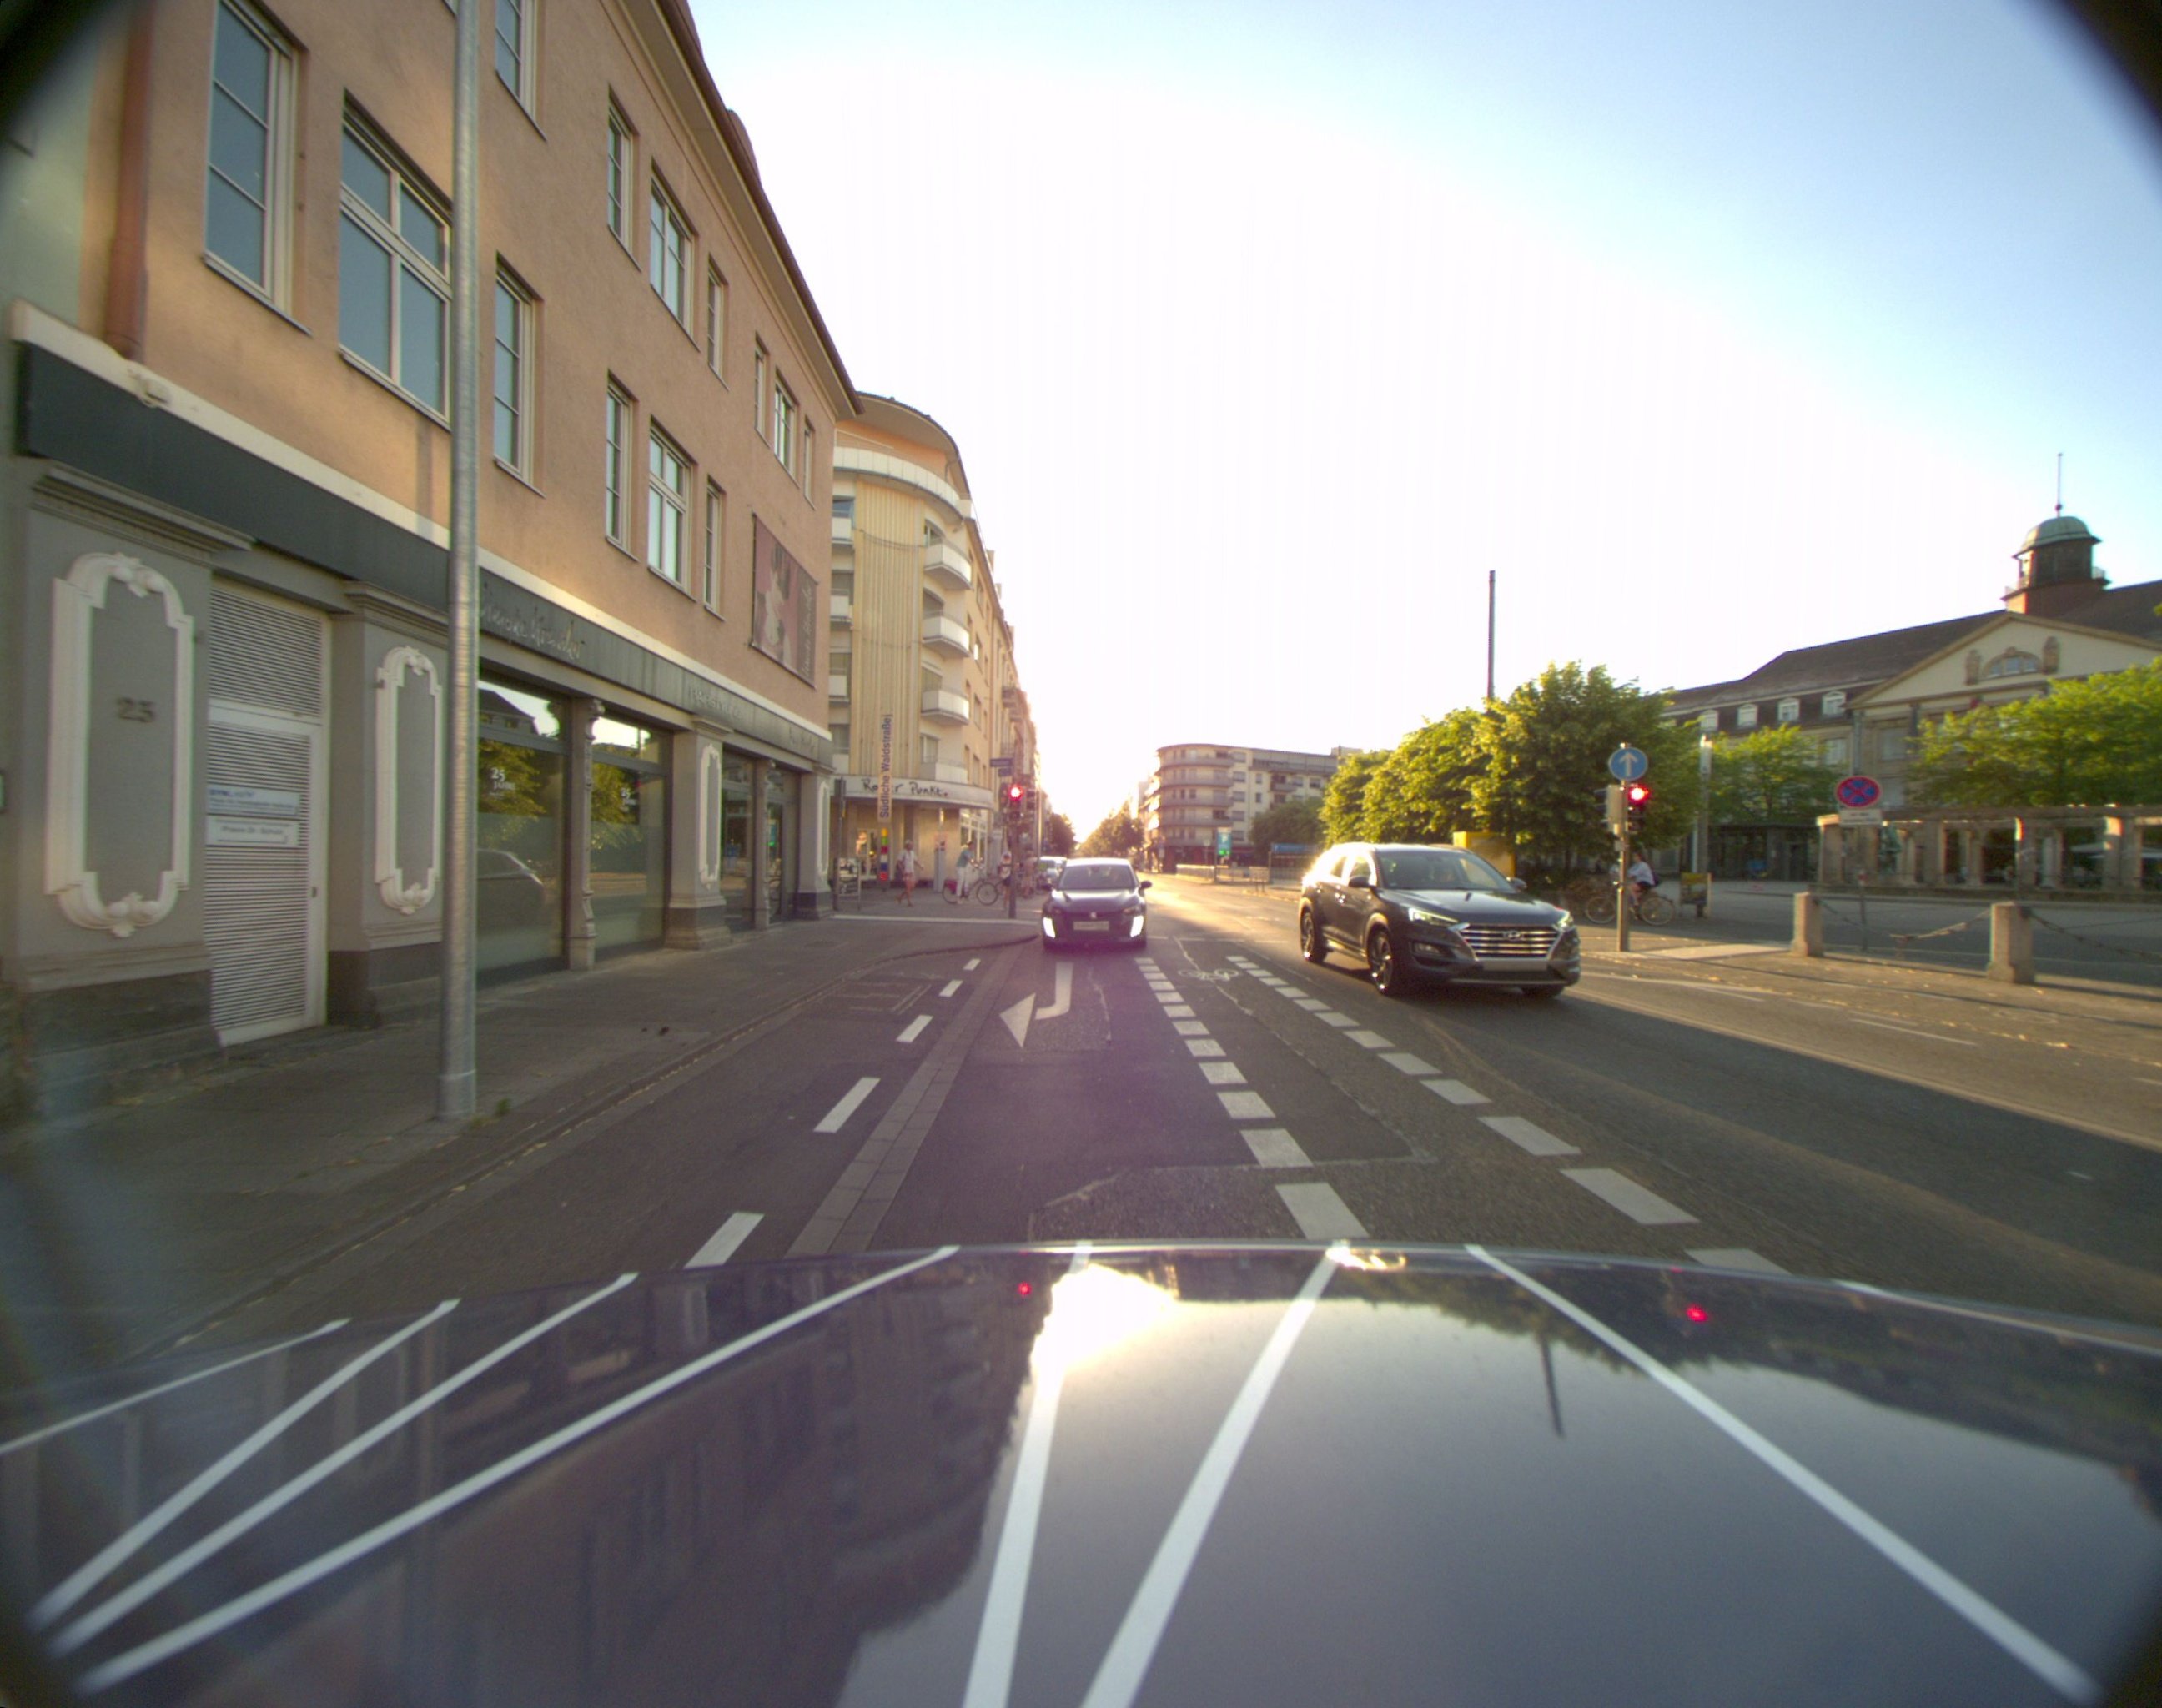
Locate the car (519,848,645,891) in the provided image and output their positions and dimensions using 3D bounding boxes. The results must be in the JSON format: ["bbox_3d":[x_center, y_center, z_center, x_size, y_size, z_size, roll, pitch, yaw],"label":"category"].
[{"bbox_3d":[-20.082,0.590,30.588,4.431,1.575,1.949,1,0,20],"label":"car"}]

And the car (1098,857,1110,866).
[{"bbox_3d":[3.691,1.197,122.395,1.790,1.458,3.956,2,0,-2],"label":"car"}]

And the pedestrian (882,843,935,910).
[{"bbox_3d":[-4.652,0.585,20.506,1.097,1.764,0.828,1,0,33],"label":"pedestrian"}]

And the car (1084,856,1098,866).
[{"bbox_3d":[1.777,1.314,134.224,1.878,1.621,4.177,3,-1,-6],"label":"car"}]

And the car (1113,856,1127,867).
[{"bbox_3d":[6.649,1.259,130.735,1.999,1.805,3.999,1,0,-2],"label":"car"}]

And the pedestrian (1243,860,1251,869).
[{"bbox_3d":[23.534,1.508,107.654,0.731,1.314,0.891,1,0,39],"label":"pedestrian"}]

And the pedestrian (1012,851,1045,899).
[{"bbox_3d":[-1.839,0.724,26.717,0.789,1.643,0.782,1,0,43],"label":"pedestrian"}]

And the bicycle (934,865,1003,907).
[{"bbox_3d":[-3.270,0.920,22.246,1.823,1.179,0.794,1,0,9],"label":"bicycle"}]

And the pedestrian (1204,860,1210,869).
[{"bbox_3d":[17.556,1.472,105.837,0.732,1.314,0.888,1,0,-3],"label":"pedestrian"}]

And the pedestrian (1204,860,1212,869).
[{"bbox_3d":[17.808,1.473,106.658,0.689,1.314,0.819,0,0,-24],"label":"pedestrian"}]

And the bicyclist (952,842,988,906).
[{"bbox_3d":[-3.253,0.575,22.289,0.835,1.815,0.831,1,0,7],"label":"bicyclist"}]

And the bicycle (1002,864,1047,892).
[{"bbox_3d":[-2.444,1.034,33.043,1.851,1.117,0.594,2,1,-12],"label":"bicycle"}]

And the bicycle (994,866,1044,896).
[{"bbox_3d":[-2.344,1.034,28.775,1.788,1.057,0.718,2,0,-12],"label":"bicycle"}]

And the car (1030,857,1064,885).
[{"bbox_3d":[-1.991,0.976,45.657,1.821,1.611,4.203,1,0,0],"label":"car"}]

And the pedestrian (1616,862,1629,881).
[{"bbox_3d":[30.617,1.004,42.952,0.461,1.057,0.531,-1,-2,19],"label":"pedestrian"}]

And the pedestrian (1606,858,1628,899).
[{"bbox_3d":[21.537,0.956,30.539,0.703,1.611,0.842,0,1,33],"label":"pedestrian"}]

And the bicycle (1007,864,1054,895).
[{"bbox_3d":[-2.023,1.007,30.462,1.788,1.166,0.621,2,0,-12],"label":"bicycle"}]

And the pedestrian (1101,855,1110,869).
[{"bbox_3d":[2.820,0.925,88.062,0.678,1.508,0.676,1,0,-43],"label":"pedestrian"}]

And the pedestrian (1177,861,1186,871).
[{"bbox_3d":[13.763,1.677,104.297,0.890,1.314,0.731,0,0,-27],"label":"pedestrian"}]

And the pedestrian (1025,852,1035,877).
[{"bbox_3d":[-4.106,0.813,61.140,0.763,2.002,0.851,1,0,0],"label":"pedestrian"}]

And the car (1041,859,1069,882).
[{"bbox_3d":[-1.719,1.077,51.281,1.738,1.448,4.610,1,0,0],"label":"car"}]

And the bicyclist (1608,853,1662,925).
[{"bbox_3d":[13.530,0.834,18.578,0.777,1.714,0.856,1,0,15],"label":"bicyclist"}]

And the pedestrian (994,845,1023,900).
[{"bbox_3d":[-2.441,0.608,25.575,0.826,1.806,0.870,1,0,-13],"label":"pedestrian"}]

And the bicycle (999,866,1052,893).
[{"bbox_3d":[-2.346,1.080,32.044,2.176,1.069,0.805,2,0,-7],"label":"bicycle"}]

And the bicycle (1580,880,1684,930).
[{"bbox_3d":[13.443,1.229,18.606,1.917,1.111,0.706,1,0,17],"label":"bicycle"}]

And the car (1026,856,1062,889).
[{"bbox_3d":[-1.883,0.924,39.215,1.702,1.607,4.682,1,0,-2],"label":"car"}]

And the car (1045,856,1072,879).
[{"bbox_3d":[-1.637,1.005,56.833,1.877,1.664,4.430,1,0,0],"label":"car"}]

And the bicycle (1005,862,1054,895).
[{"bbox_3d":[-2.018,0.958,29.715,1.849,1.232,0.639,1,0,-6],"label":"bicycle"}]

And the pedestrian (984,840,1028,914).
[{"bbox_3d":[-1.977,0.599,20.045,0.942,1.886,0.824,1,0,-22],"label":"pedestrian"}]

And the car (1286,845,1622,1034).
[{"bbox_3d":[4.029,0.804,9.215,1.877,1.679,4.450,2,0,1],"label":"car"}]

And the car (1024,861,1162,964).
[{"bbox_3d":[0.397,0.862,13.270,1.907,1.438,4.452,1,0,7],"label":"car"}]

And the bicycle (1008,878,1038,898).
[{"bbox_3d":[-2.140,1.247,28.080,1.008,0.677,1.049,1,0,-10],"label":"bicycle"}]

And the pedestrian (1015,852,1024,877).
[{"bbox_3d":[-4.992,0.819,61.715,0.673,2.002,0.851,0,0,0],"label":"pedestrian"}]
